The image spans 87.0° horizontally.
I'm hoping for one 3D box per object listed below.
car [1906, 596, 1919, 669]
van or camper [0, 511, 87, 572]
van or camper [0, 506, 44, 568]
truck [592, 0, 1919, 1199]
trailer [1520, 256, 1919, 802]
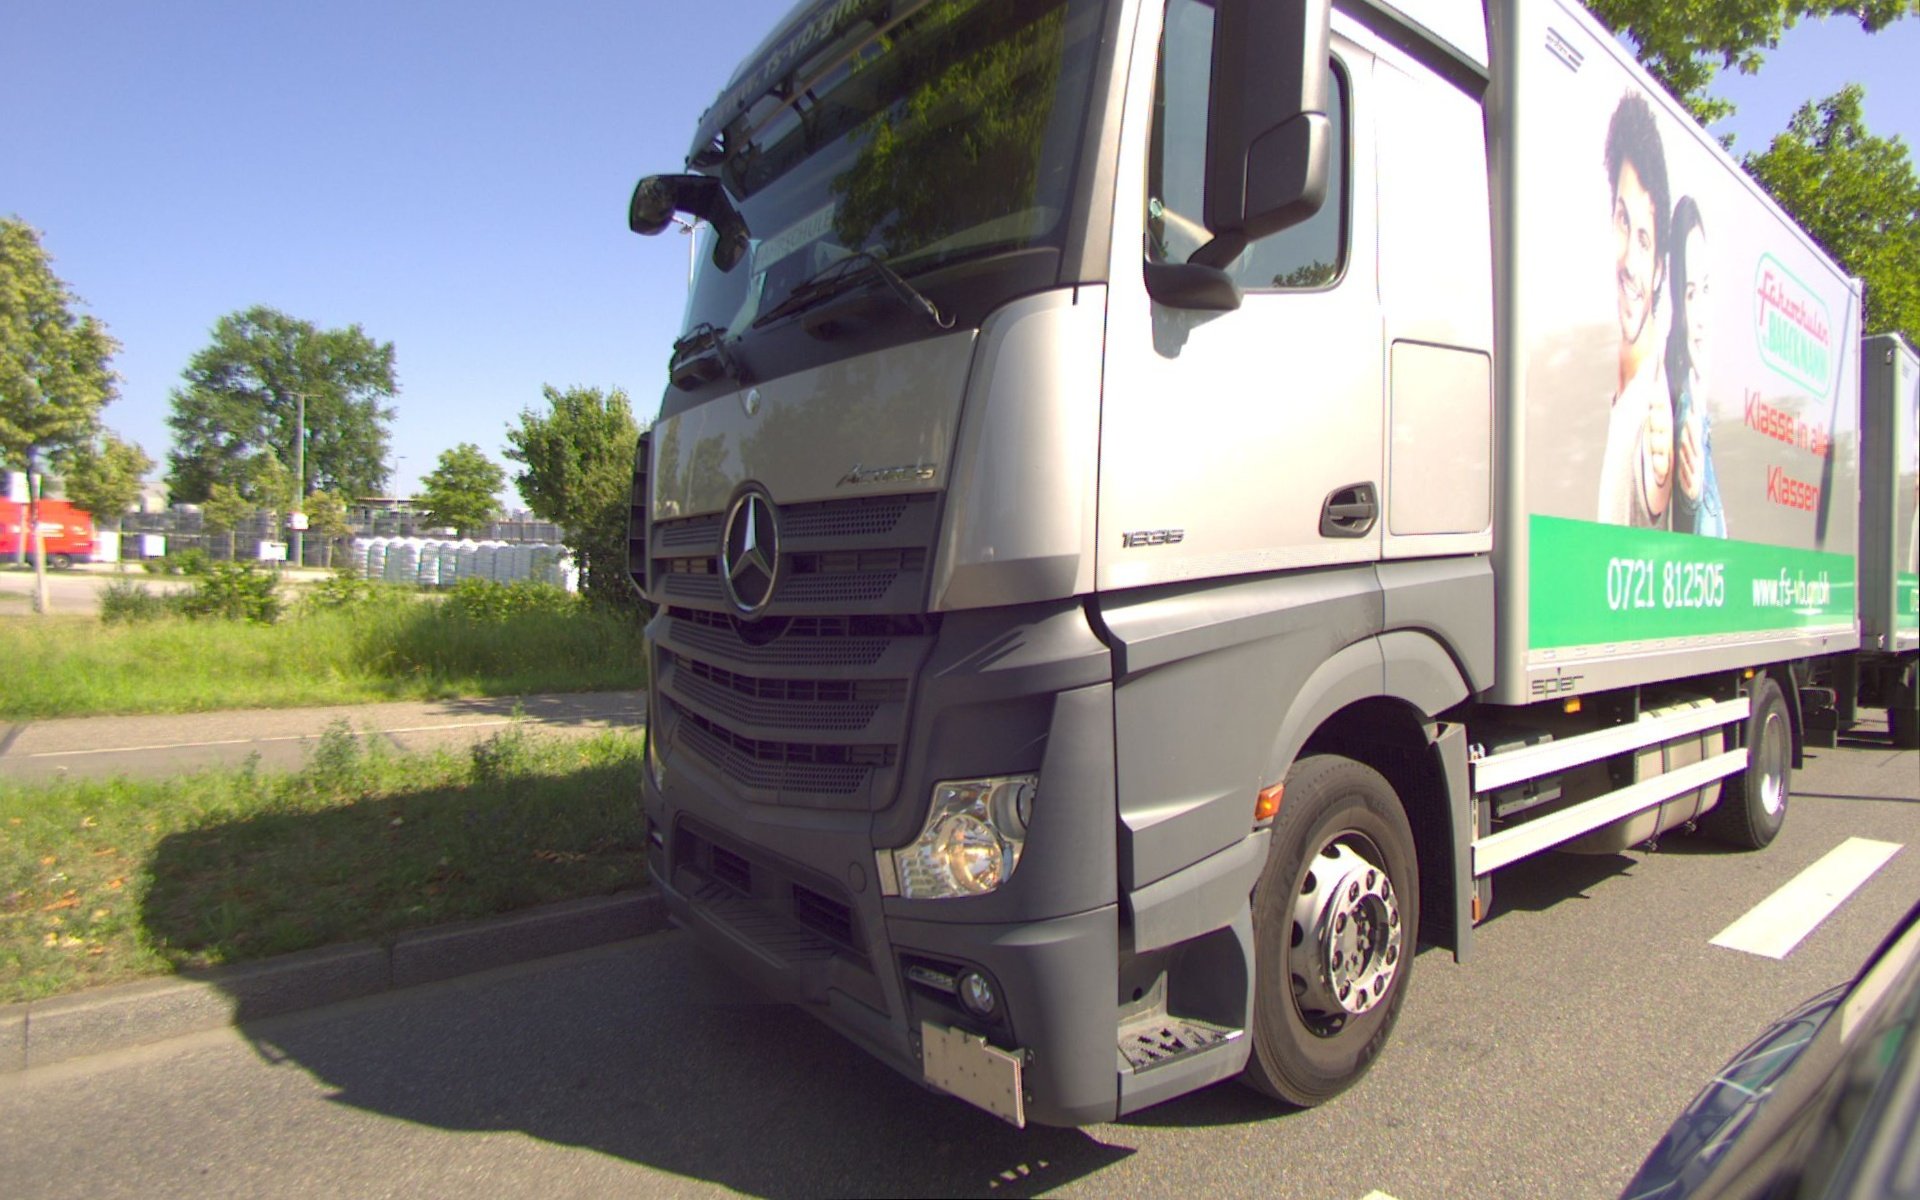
[{"bbox_3d":[21.098,0.672,20.879,4.058,1.437,1.871,0,2,-41],"label":"car"},{"bbox_3d":[-45.400,-2.746,47.196,1.971,2.739,7.253,0,0,15],"label":"van or camper"},{"bbox_3d":[-48.832,-3.130,48.608,1.971,2.979,7.253,0,0,15],"label":"van or camper"},{"bbox_3d":[2.708,-0.729,5.663,8.564,3.938,2.737,-1,2,-38],"label":"truck"},{"bbox_3d":[9.043,-0.592,10.713,7.596,3.925,2.743,-1,2,-39],"label":"trailer"}]
